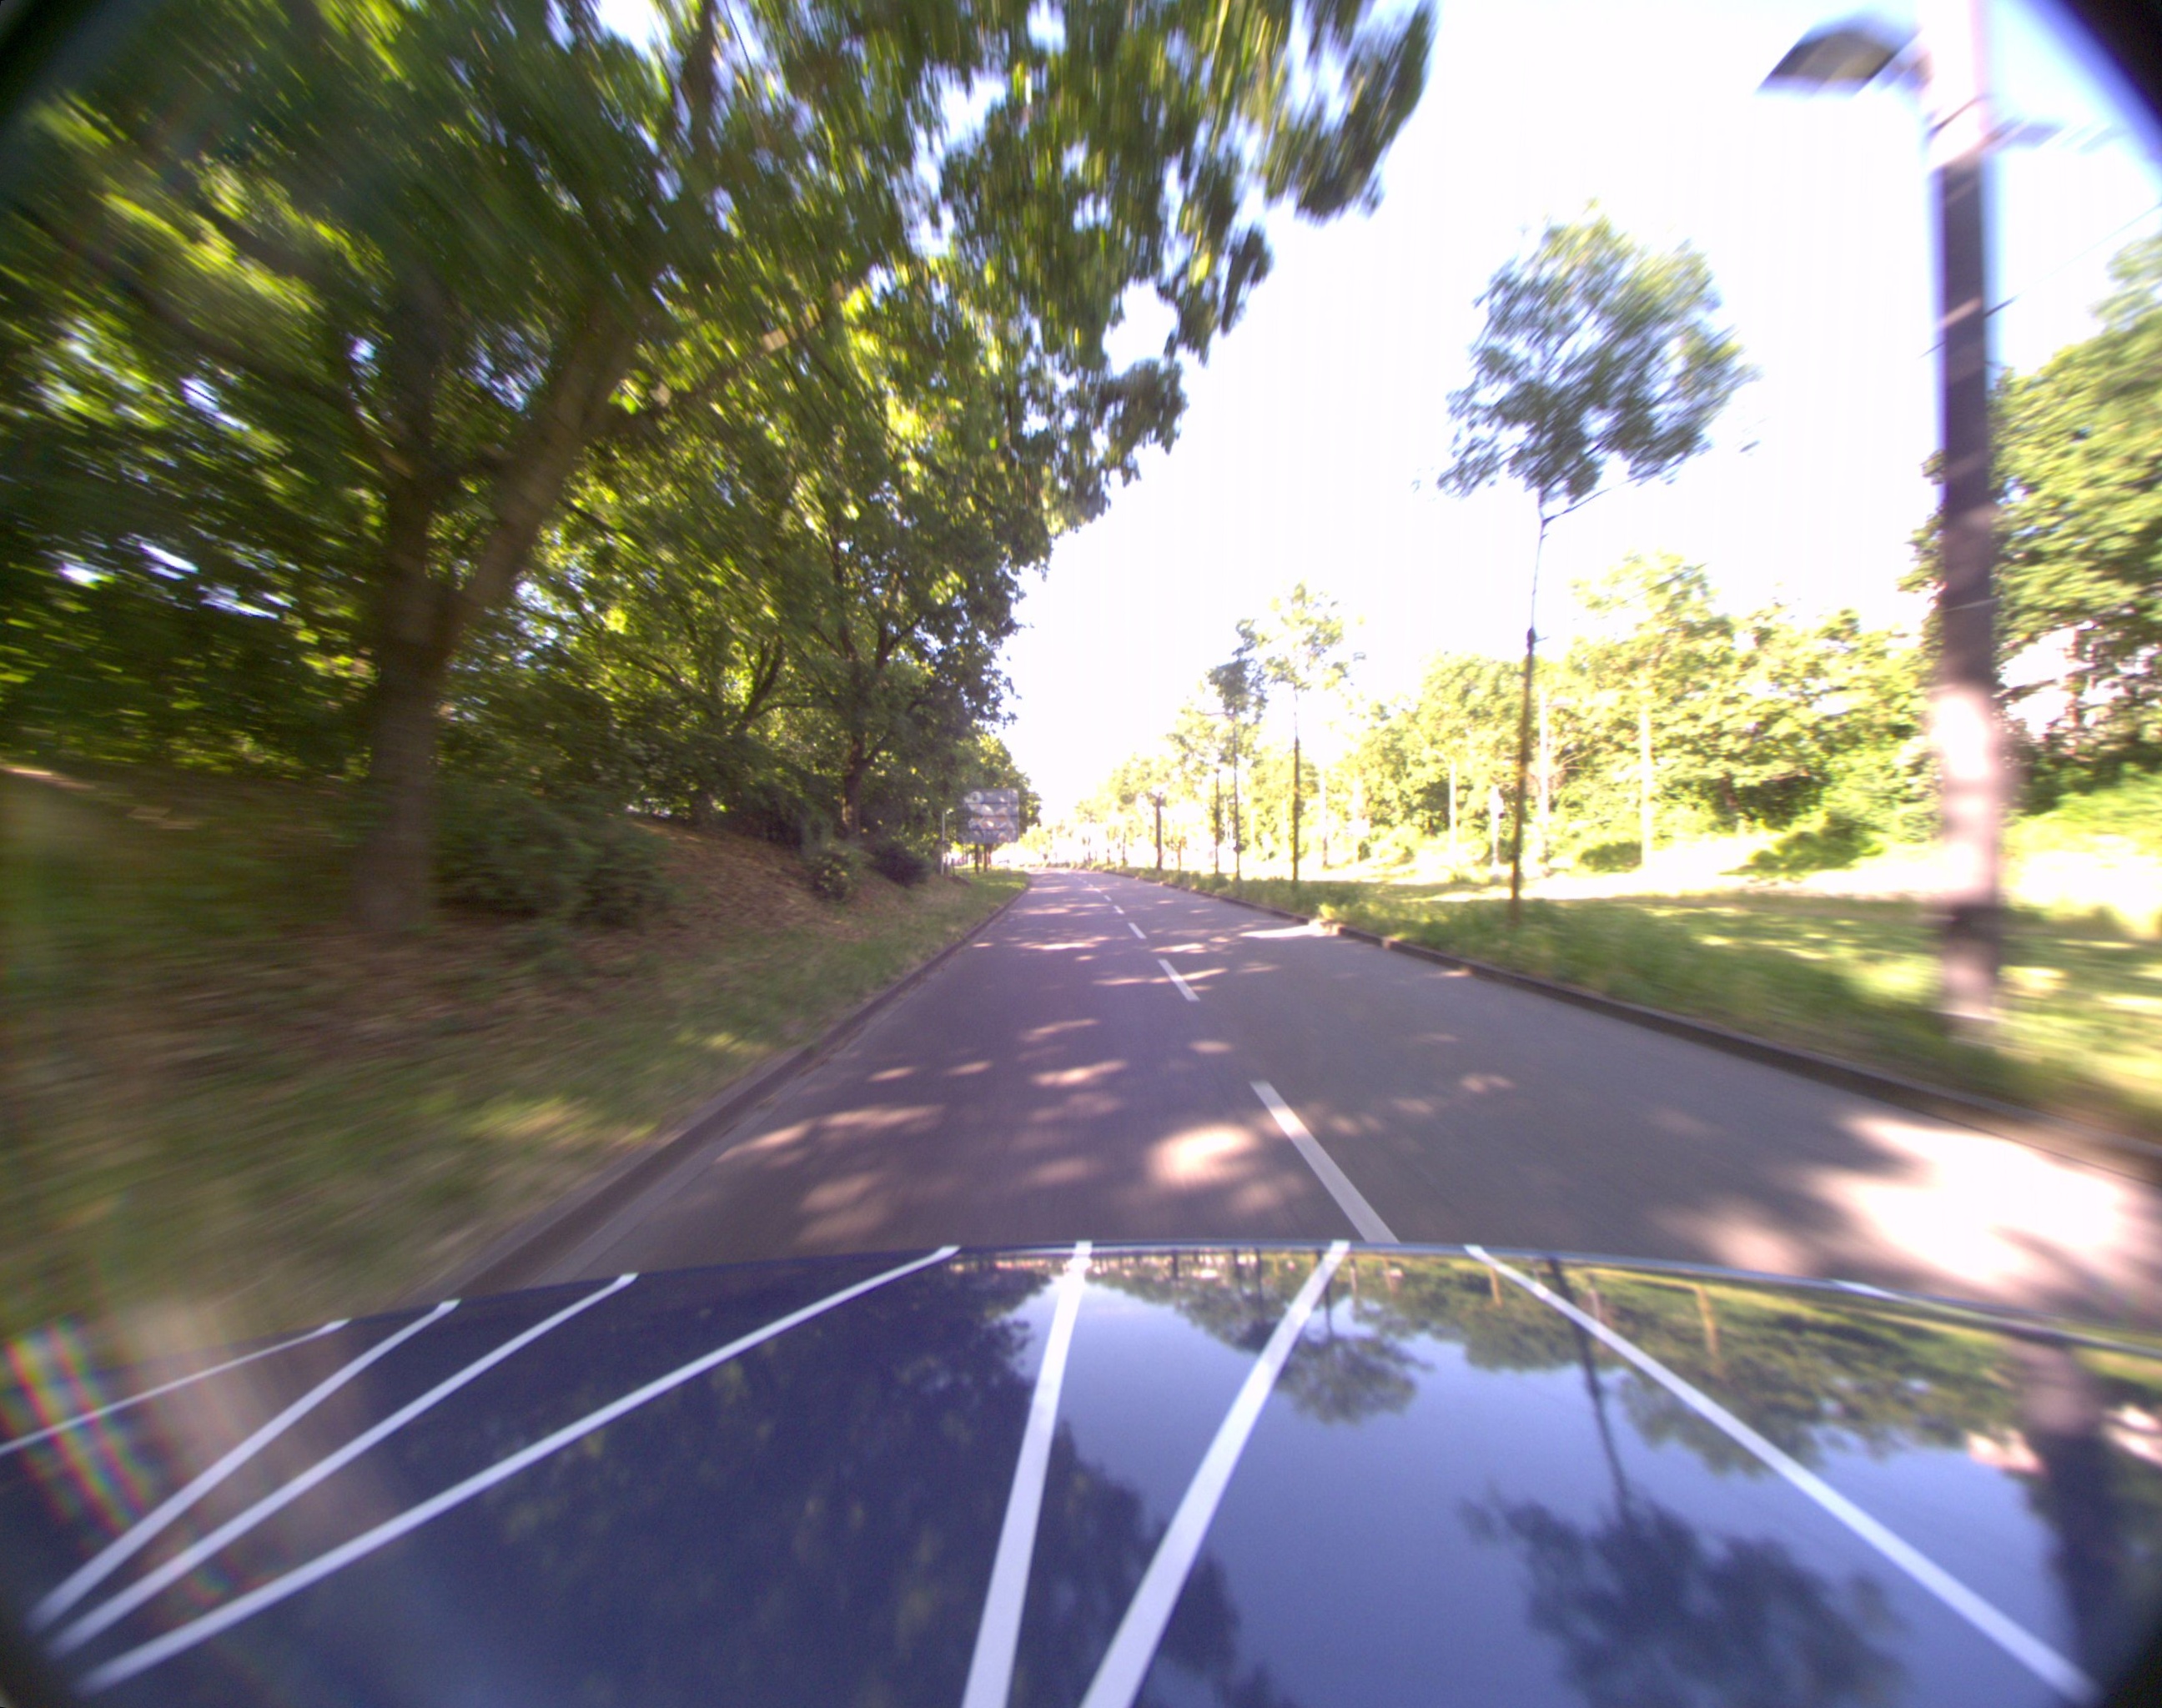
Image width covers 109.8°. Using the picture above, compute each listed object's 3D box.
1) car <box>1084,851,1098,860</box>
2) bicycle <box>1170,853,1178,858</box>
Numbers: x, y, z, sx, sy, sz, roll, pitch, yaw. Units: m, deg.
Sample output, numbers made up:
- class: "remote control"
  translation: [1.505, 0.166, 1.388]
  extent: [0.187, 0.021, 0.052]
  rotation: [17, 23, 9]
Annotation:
- class: "car"
  translation: [2.144, 0.419, 166.203]
  extent: [1.826, 1.630, 4.485]
  rotation: [-1, -3, -17]
- class: "bicycle"
  translation: [21.049, 0.393, 172.334]
  extent: [0.720, 1.205, 2.549]
  rotation: [-1, 0, -18]
